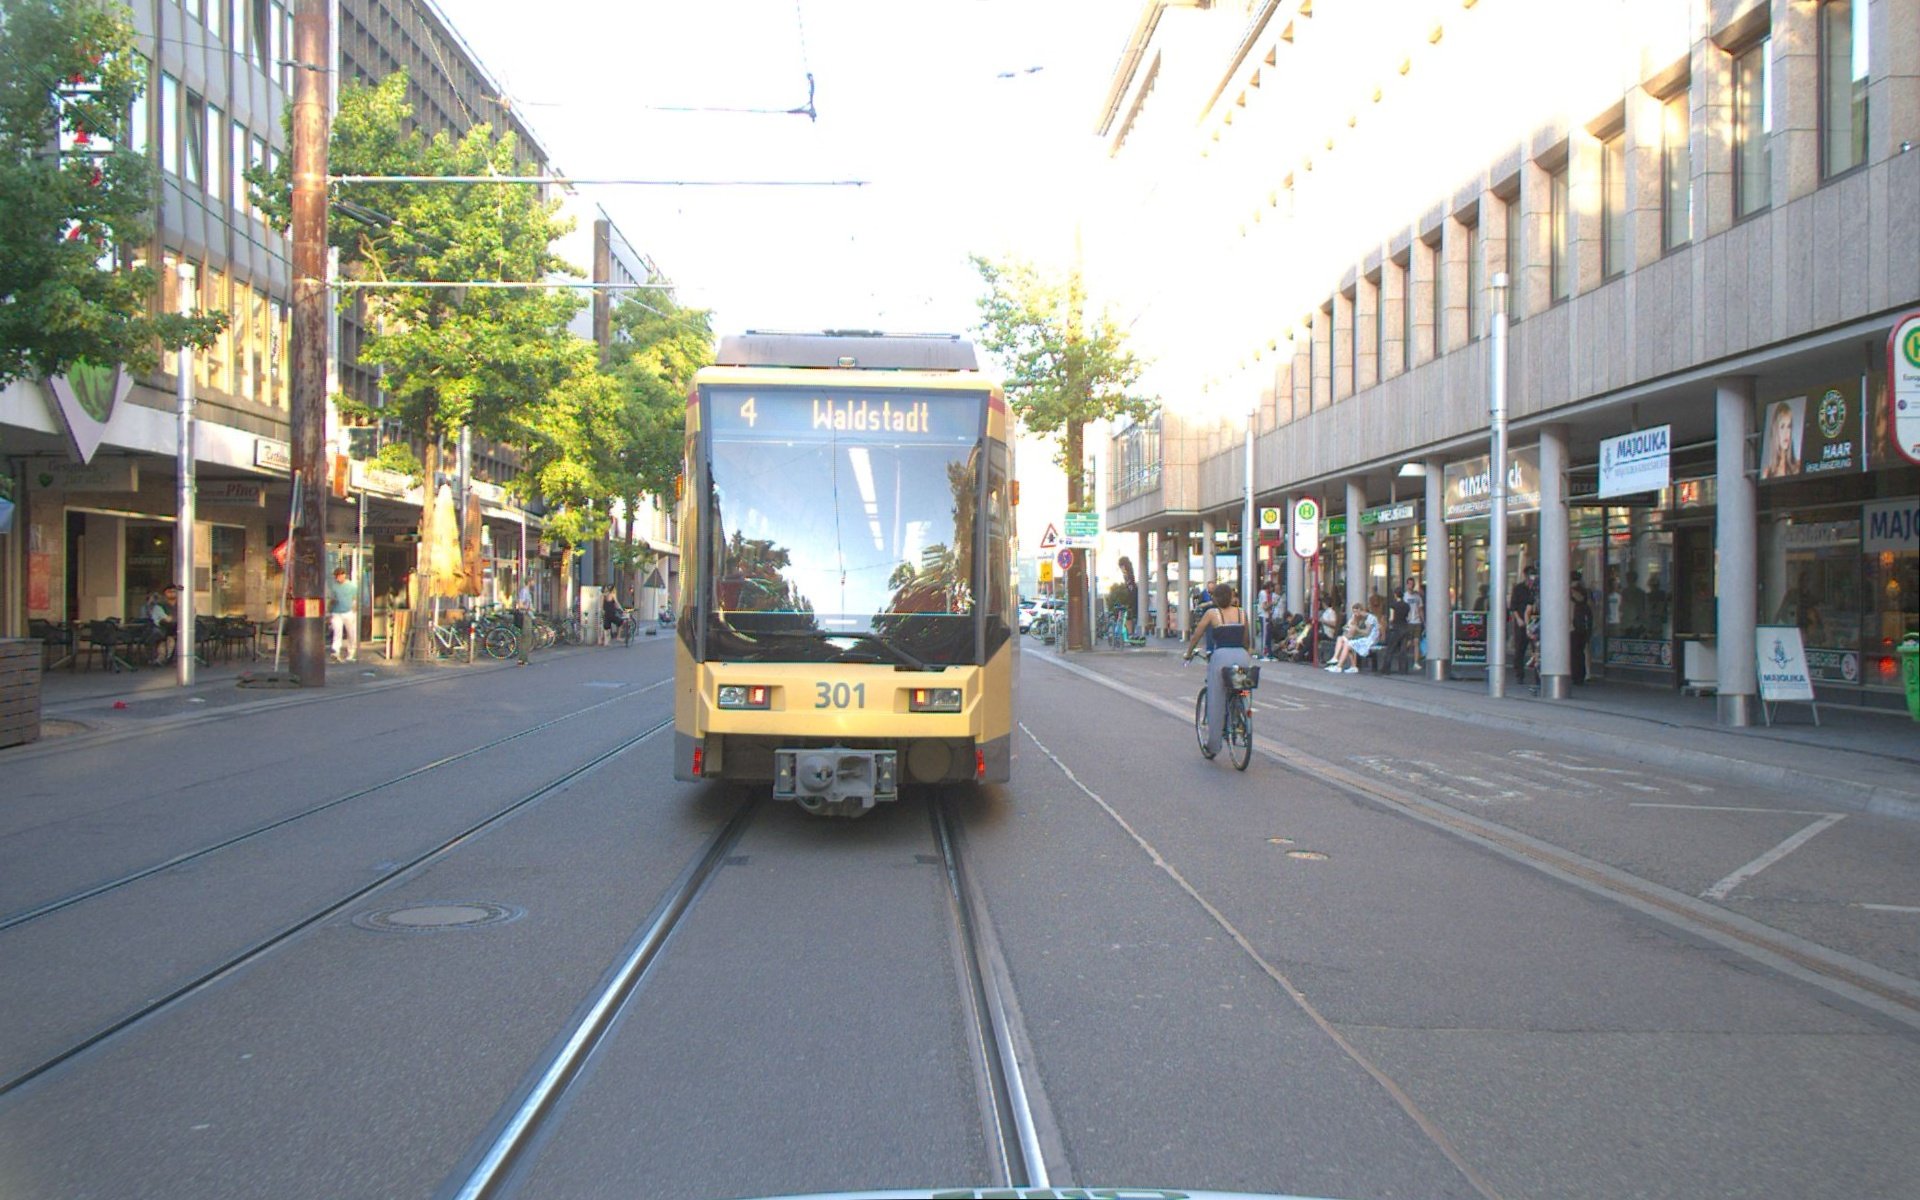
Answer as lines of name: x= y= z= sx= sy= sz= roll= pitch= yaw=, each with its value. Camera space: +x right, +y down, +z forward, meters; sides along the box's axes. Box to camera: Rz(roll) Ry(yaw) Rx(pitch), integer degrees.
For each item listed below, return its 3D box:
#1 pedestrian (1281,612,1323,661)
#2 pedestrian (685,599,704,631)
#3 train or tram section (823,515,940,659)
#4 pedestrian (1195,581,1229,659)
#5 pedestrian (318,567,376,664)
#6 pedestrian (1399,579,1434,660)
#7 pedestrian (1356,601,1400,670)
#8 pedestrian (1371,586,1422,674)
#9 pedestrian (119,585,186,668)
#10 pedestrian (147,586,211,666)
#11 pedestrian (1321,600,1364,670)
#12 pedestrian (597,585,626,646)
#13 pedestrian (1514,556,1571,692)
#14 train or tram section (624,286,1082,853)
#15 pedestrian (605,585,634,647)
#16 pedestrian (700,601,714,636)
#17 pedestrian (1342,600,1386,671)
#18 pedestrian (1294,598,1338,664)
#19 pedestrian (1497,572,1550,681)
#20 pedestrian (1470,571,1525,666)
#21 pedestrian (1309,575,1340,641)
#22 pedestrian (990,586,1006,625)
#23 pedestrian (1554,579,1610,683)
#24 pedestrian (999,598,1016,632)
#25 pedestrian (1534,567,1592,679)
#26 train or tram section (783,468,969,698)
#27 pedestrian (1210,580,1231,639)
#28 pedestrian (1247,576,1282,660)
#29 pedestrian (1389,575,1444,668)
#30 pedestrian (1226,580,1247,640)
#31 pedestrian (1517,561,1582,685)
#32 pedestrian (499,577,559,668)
pedestrian: x=7.535 y=0.791 z=36.446 sx=0.796 sy=1.061 sz=0.544 roll=1 pitch=-1 yaw=-1
pedestrian: x=-12.193 y=0.669 z=75.828 sx=0.544 sy=1.459 sz=0.682 roll=-1 pitch=-1 yaw=35
train or tram section: x=-2.158 y=-0.343 z=46.144 sx=2.744 sy=3.377 sz=14.501 roll=0 pitch=0 yaw=-2
pedestrian: x=6.126 y=0.475 z=40.233 sx=0.655 sy=1.872 sz=0.708 roll=-1 pitch=0 yaw=-3
pedestrian: x=-11.896 y=0.292 z=32.112 sx=0.670 sy=1.824 sz=0.990 roll=2 pitch=-1 yaw=0
pedestrian: x=10.149 y=0.432 z=36.802 sx=0.559 sy=1.762 sz=0.617 roll=-1 pitch=0 yaw=-3
pedestrian: x=8.174 y=0.687 z=32.373 sx=0.703 sy=1.337 sz=0.532 roll=1 pitch=-1 yaw=-1
pedestrian: x=8.056 y=0.543 z=30.547 sx=0.709 sy=1.597 sz=0.736 roll=-1 pitch=-1 yaw=0
pedestrian: x=-13.618 y=0.449 z=27.906 sx=0.657 sy=1.349 sz=0.911 roll=2 pitch=-1 yaw=-3
pedestrian: x=-13.729 y=0.452 z=29.098 sx=0.657 sy=1.349 sz=0.911 roll=2 pitch=-1 yaw=-3
pedestrian: x=7.453 y=0.676 z=32.232 sx=0.703 sy=1.337 sz=0.532 roll=1 pitch=-1 yaw=-1
pedestrian: x=-9.985 y=0.439 z=47.348 sx=0.589 sy=1.729 sz=0.535 roll=1 pitch=0 yaw=27
pedestrian: x=8.576 y=0.350 z=24.379 sx=0.566 sy=1.978 sz=0.655 roll=-1 pitch=-1 yaw=-2
train or tram section: x=-0.940 y=-0.215 z=17.175 sx=2.744 sy=3.377 sz=14.501 roll=0 pitch=0 yaw=-2
pedestrian: x=-9.645 y=0.440 z=46.889 sx=0.589 sy=1.729 sz=0.535 roll=1 pitch=0 yaw=27
pedestrian: x=-11.036 y=0.787 z=72.203 sx=0.592 sy=1.520 sz=0.554 roll=0 pitch=-1 yaw=-10
pedestrian: x=7.738 y=0.678 z=31.700 sx=0.703 sy=1.337 sz=0.524 roll=1 pitch=-1 yaw=-1
pedestrian: x=7.671 y=0.661 z=35.687 sx=0.796 sy=1.405 sz=0.662 roll=1 pitch=-1 yaw=-1
pedestrian: x=9.414 y=0.442 z=27.666 sx=0.570 sy=1.783 sz=0.773 roll=-1 pitch=0 yaw=-3
pedestrian: x=10.396 y=0.362 z=31.992 sx=0.757 sy=1.803 sz=0.773 roll=-1 pitch=-1 yaw=-3
pedestrian: x=10.139 y=0.226 z=45.988 sx=0.649 sy=1.818 sz=0.719 roll=-1 pitch=-1 yaw=-2
pedestrian: x=1.749 y=0.266 z=75.499 sx=0.703 sy=1.756 sz=0.709 roll=0 pitch=-1 yaw=-1
pedestrian: x=10.257 y=0.500 z=27.302 sx=0.635 sy=1.690 sz=0.680 roll=-1 pitch=0 yaw=-1
pedestrian: x=2.613 y=0.818 z=91.523 sx=0.722 sy=1.855 sz=0.816 roll=0 pitch=0 yaw=-17
pedestrian: x=10.523 y=0.398 z=28.889 sx=0.673 sy=1.916 sz=0.773 roll=-1 pitch=0 yaw=-3
train or tram section: x=-1.544 y=-0.278 z=31.641 sx=2.744 sy=3.377 sz=14.501 roll=0 pitch=0 yaw=-2
pedestrian: x=8.154 y=0.304 z=51.760 sx=0.528 sy=1.838 sz=0.604 roll=-1 pitch=0 yaw=-3
pedestrian: x=6.856 y=0.403 z=37.213 sx=0.626 sy=1.872 sz=0.667 roll=-1 pitch=0 yaw=-1
pedestrian: x=9.151 y=0.422 z=33.199 sx=0.827 sy=1.829 sz=0.858 roll=-1 pitch=-1 yaw=-2
pedestrian: x=8.667 y=0.312 z=51.868 sx=0.528 sy=1.838 sz=0.604 roll=-1 pitch=0 yaw=-3
pedestrian: x=9.336 y=0.366 z=26.212 sx=0.692 sy=1.922 sz=0.796 roll=-1 pitch=-1 yaw=-1
pedestrian: x=-8.850 y=0.451 z=33.940 sx=0.974 sy=1.824 sz=0.816 roll=0 pitch=-1 yaw=45
